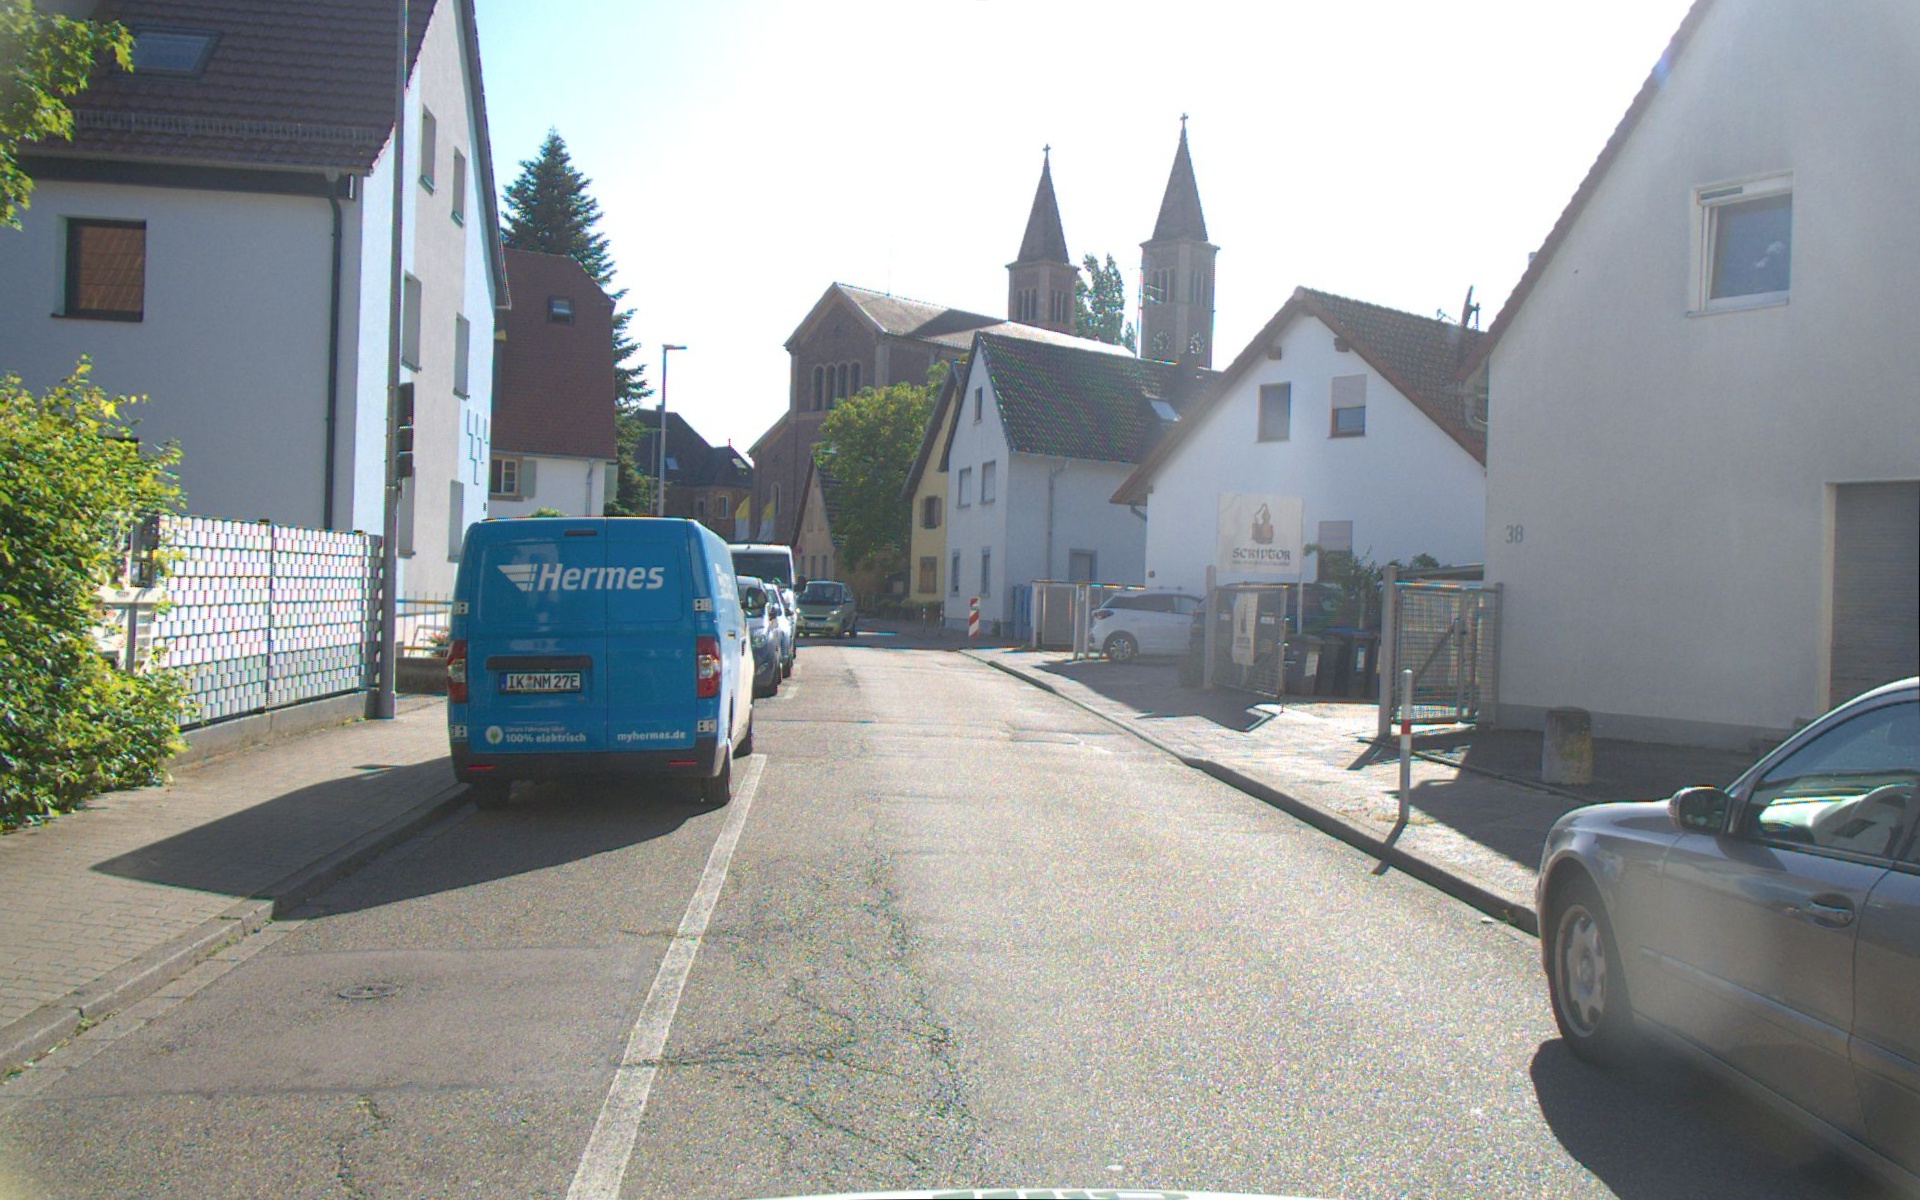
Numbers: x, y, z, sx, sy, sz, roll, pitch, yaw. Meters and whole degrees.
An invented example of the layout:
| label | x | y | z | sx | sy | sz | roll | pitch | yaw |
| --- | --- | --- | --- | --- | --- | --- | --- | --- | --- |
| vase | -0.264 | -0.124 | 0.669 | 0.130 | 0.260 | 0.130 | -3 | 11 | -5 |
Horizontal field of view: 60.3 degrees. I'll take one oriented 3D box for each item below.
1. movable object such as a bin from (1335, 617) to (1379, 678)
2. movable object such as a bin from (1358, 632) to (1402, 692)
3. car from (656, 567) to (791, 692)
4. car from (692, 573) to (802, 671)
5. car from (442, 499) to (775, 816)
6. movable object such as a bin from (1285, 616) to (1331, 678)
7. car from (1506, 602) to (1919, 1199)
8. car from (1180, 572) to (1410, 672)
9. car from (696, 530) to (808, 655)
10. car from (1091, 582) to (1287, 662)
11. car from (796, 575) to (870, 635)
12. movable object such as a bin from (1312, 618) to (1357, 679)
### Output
| label | x | y | z | sx | sy | sz | roll | pitch | yaw |
| --- | --- | --- | --- | --- | --- | --- | --- | --- | --- |
| movable object such as a bin | 6.382 | 0.766 | 26.579 | 0.510 | 0.939 | 0.418 | 4 | -1 | -35 |
| movable object such as a bin | 6.835 | 1.005 | 26.891 | 0.510 | 0.939 | 0.418 | 4 | -1 | -35 |
| car | -3.306 | 0.360 | 23.713 | 1.681 | 1.626 | 3.921 | 1 | 1 | -5 |
| car | -3.585 | 0.324 | 28.410 | 1.678 | 1.530 | 4.231 | 1 | 1 | -5 |
| car | -2.459 | 0.331 | 12.794 | 1.865 | 1.951 | 5.065 | 1 | 1 | -5 |
| movable object such as a bin | 5.466 | 0.734 | 25.981 | 0.510 | 0.939 | 0.418 | 4 | -1 | -35 |
| car | 3.057 | 0.807 | 4.094 | 1.775 | 1.501 | 4.659 | 1 | 1 | -1 |
| car | 6.213 | 0.384 | 30.554 | 3.999 | 1.718 | 1.890 | 1 | 1 | -34 |
| car | -4.338 | -0.198 | 35.314 | 2.154 | 2.431 | 6.058 | 0 | 1 | -5 |
| car | 4.638 | 0.433 | 33.934 | 3.830 | 1.518 | 1.848 | 1 | 0 | 3 |
| car | -3.551 | 0.120 | 46.483 | 1.541 | 1.573 | 2.967 | 2 | 1 | 5 |
| movable object such as a bin | 5.944 | 0.769 | 26.275 | 0.510 | 0.939 | 0.418 | 4 | -1 | -35 |
